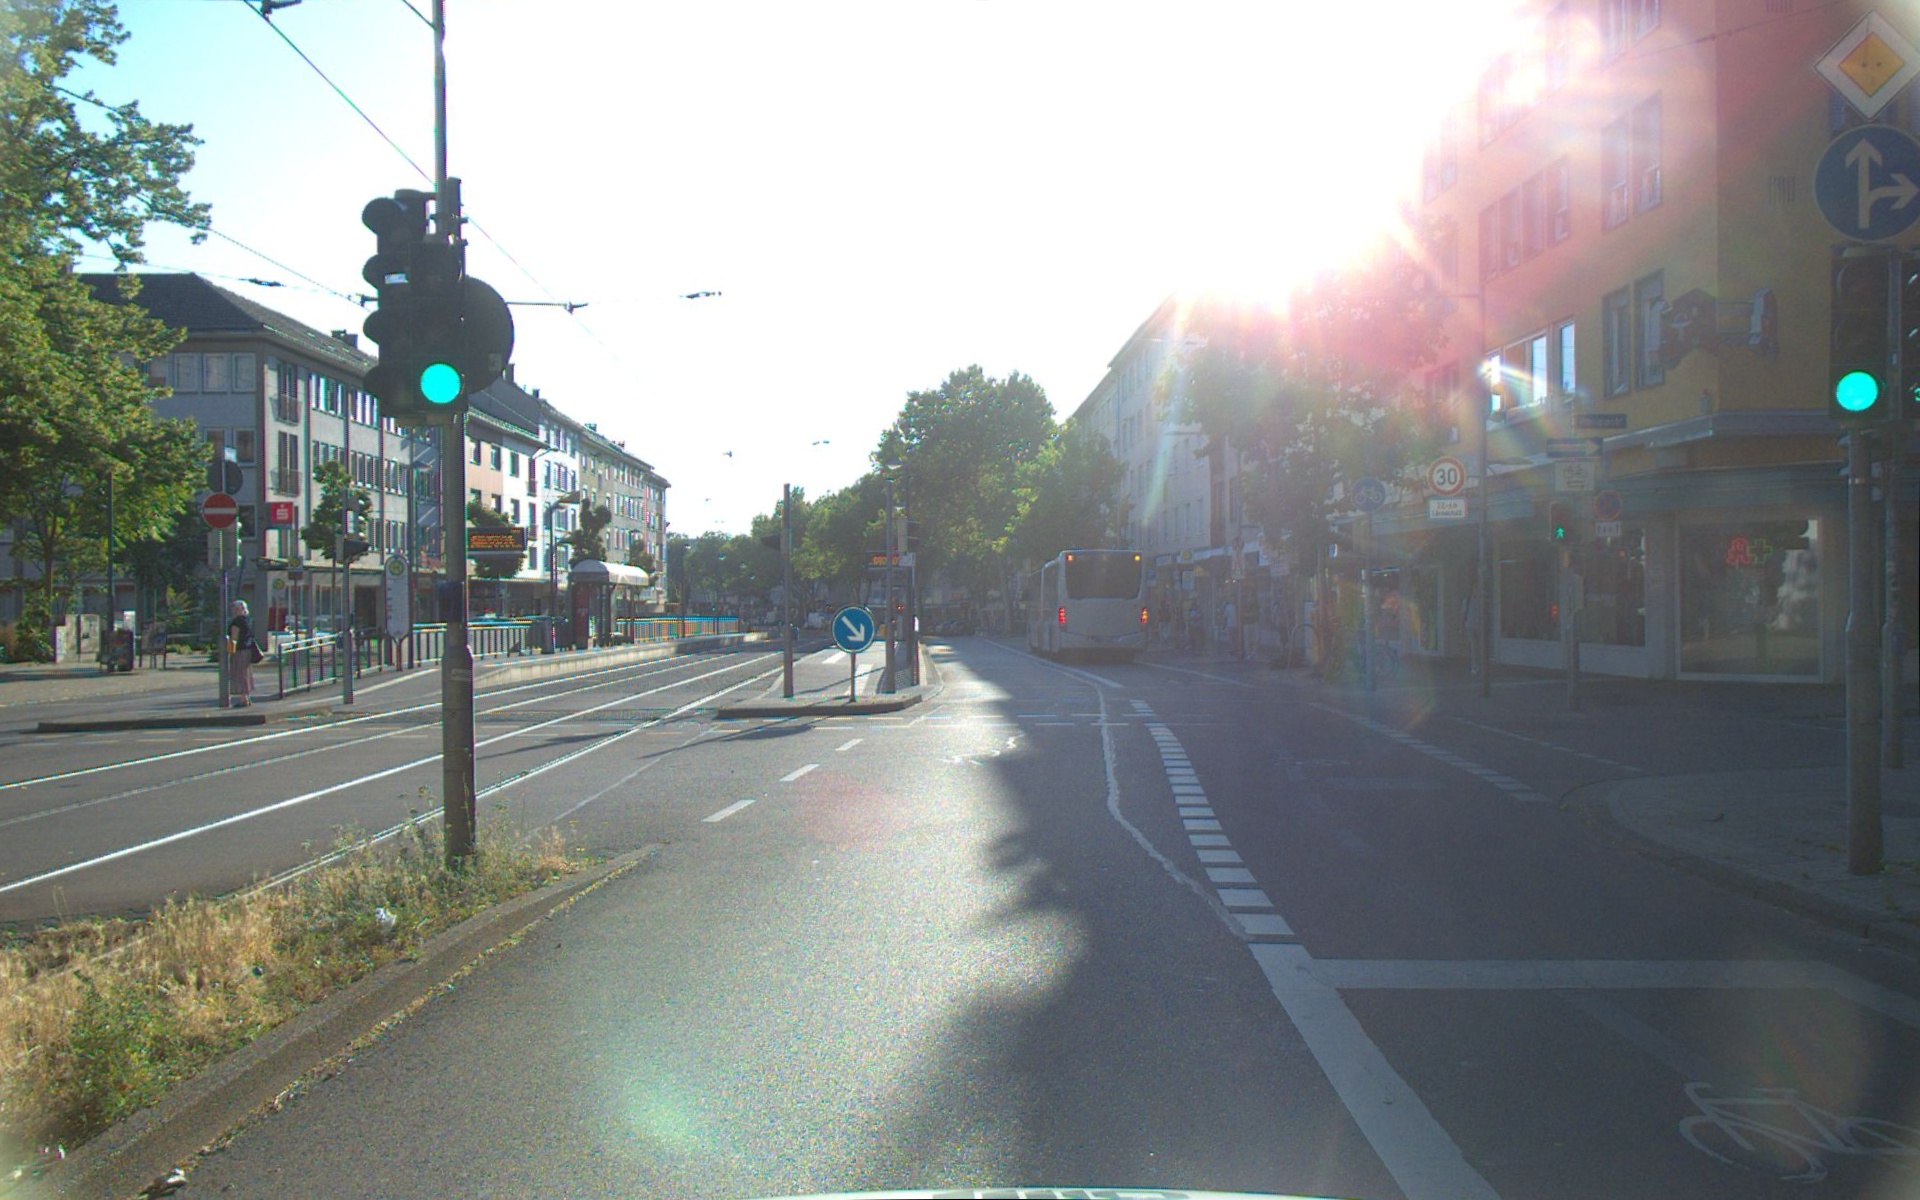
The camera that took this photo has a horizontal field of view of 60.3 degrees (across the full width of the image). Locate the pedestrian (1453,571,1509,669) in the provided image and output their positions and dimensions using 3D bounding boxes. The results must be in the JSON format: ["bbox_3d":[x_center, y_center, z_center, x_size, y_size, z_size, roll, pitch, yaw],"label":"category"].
[{"bbox_3d":[9.814,0.370,31.179,0.728,1.811,0.894,-1,-1,-2],"label":"pedestrian"}]

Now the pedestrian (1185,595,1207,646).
[{"bbox_3d":[7.525,0.661,52.716,0.597,1.606,0.851,-1,0,1],"label":"pedestrian"}]

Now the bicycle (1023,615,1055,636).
[{"bbox_3d":[4.831,1.563,100.795,1.848,1.096,0.754,-5,0,1],"label":"bicycle"}]

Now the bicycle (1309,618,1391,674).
[{"bbox_3d":[7.488,0.879,31.752,1.453,1.026,0.454,-1,0,-5],"label":"bicycle"}]

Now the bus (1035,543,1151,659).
[{"bbox_3d":[3.858,0.053,49.957,2.641,3.173,9.379,0,0,-1],"label":"bus"}]

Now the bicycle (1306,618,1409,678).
[{"bbox_3d":[7.464,0.899,31.100,1.763,1.026,0.540,-3,0,-5],"label":"bicycle"}]

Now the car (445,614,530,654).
[{"bbox_3d":[-21.926,1.560,76.863,1.734,1.709,3.500,-1,0,34],"label":"car"}]

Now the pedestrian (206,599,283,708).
[{"bbox_3d":[-12.057,0.888,27.892,0.900,1.791,0.832,-1,-1,0],"label":"pedestrian"}]

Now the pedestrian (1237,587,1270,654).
[{"bbox_3d":[8.121,0.572,45.760,0.709,1.838,0.766,-1,-1,-2],"label":"pedestrian"}]

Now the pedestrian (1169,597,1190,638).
[{"bbox_3d":[9.042,0.717,68.101,0.709,1.661,0.766,-1,0,-2],"label":"pedestrian"}]

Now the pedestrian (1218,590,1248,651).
[{"bbox_3d":[8.146,0.612,49.408,0.709,1.810,0.766,-1,-1,-2],"label":"pedestrian"}]

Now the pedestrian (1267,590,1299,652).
[{"bbox_3d":[9.326,0.599,47.763,0.709,1.754,0.766,-1,-1,-2],"label":"pedestrian"}]

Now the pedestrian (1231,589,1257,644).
[{"bbox_3d":[9.786,0.564,56.954,0.709,1.872,0.766,-1,-1,-2],"label":"pedestrian"}]

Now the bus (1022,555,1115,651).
[{"bbox_3d":[3.750,0.116,59.179,2.641,3.173,9.068,0,0,-1],"label":"bus"}]
